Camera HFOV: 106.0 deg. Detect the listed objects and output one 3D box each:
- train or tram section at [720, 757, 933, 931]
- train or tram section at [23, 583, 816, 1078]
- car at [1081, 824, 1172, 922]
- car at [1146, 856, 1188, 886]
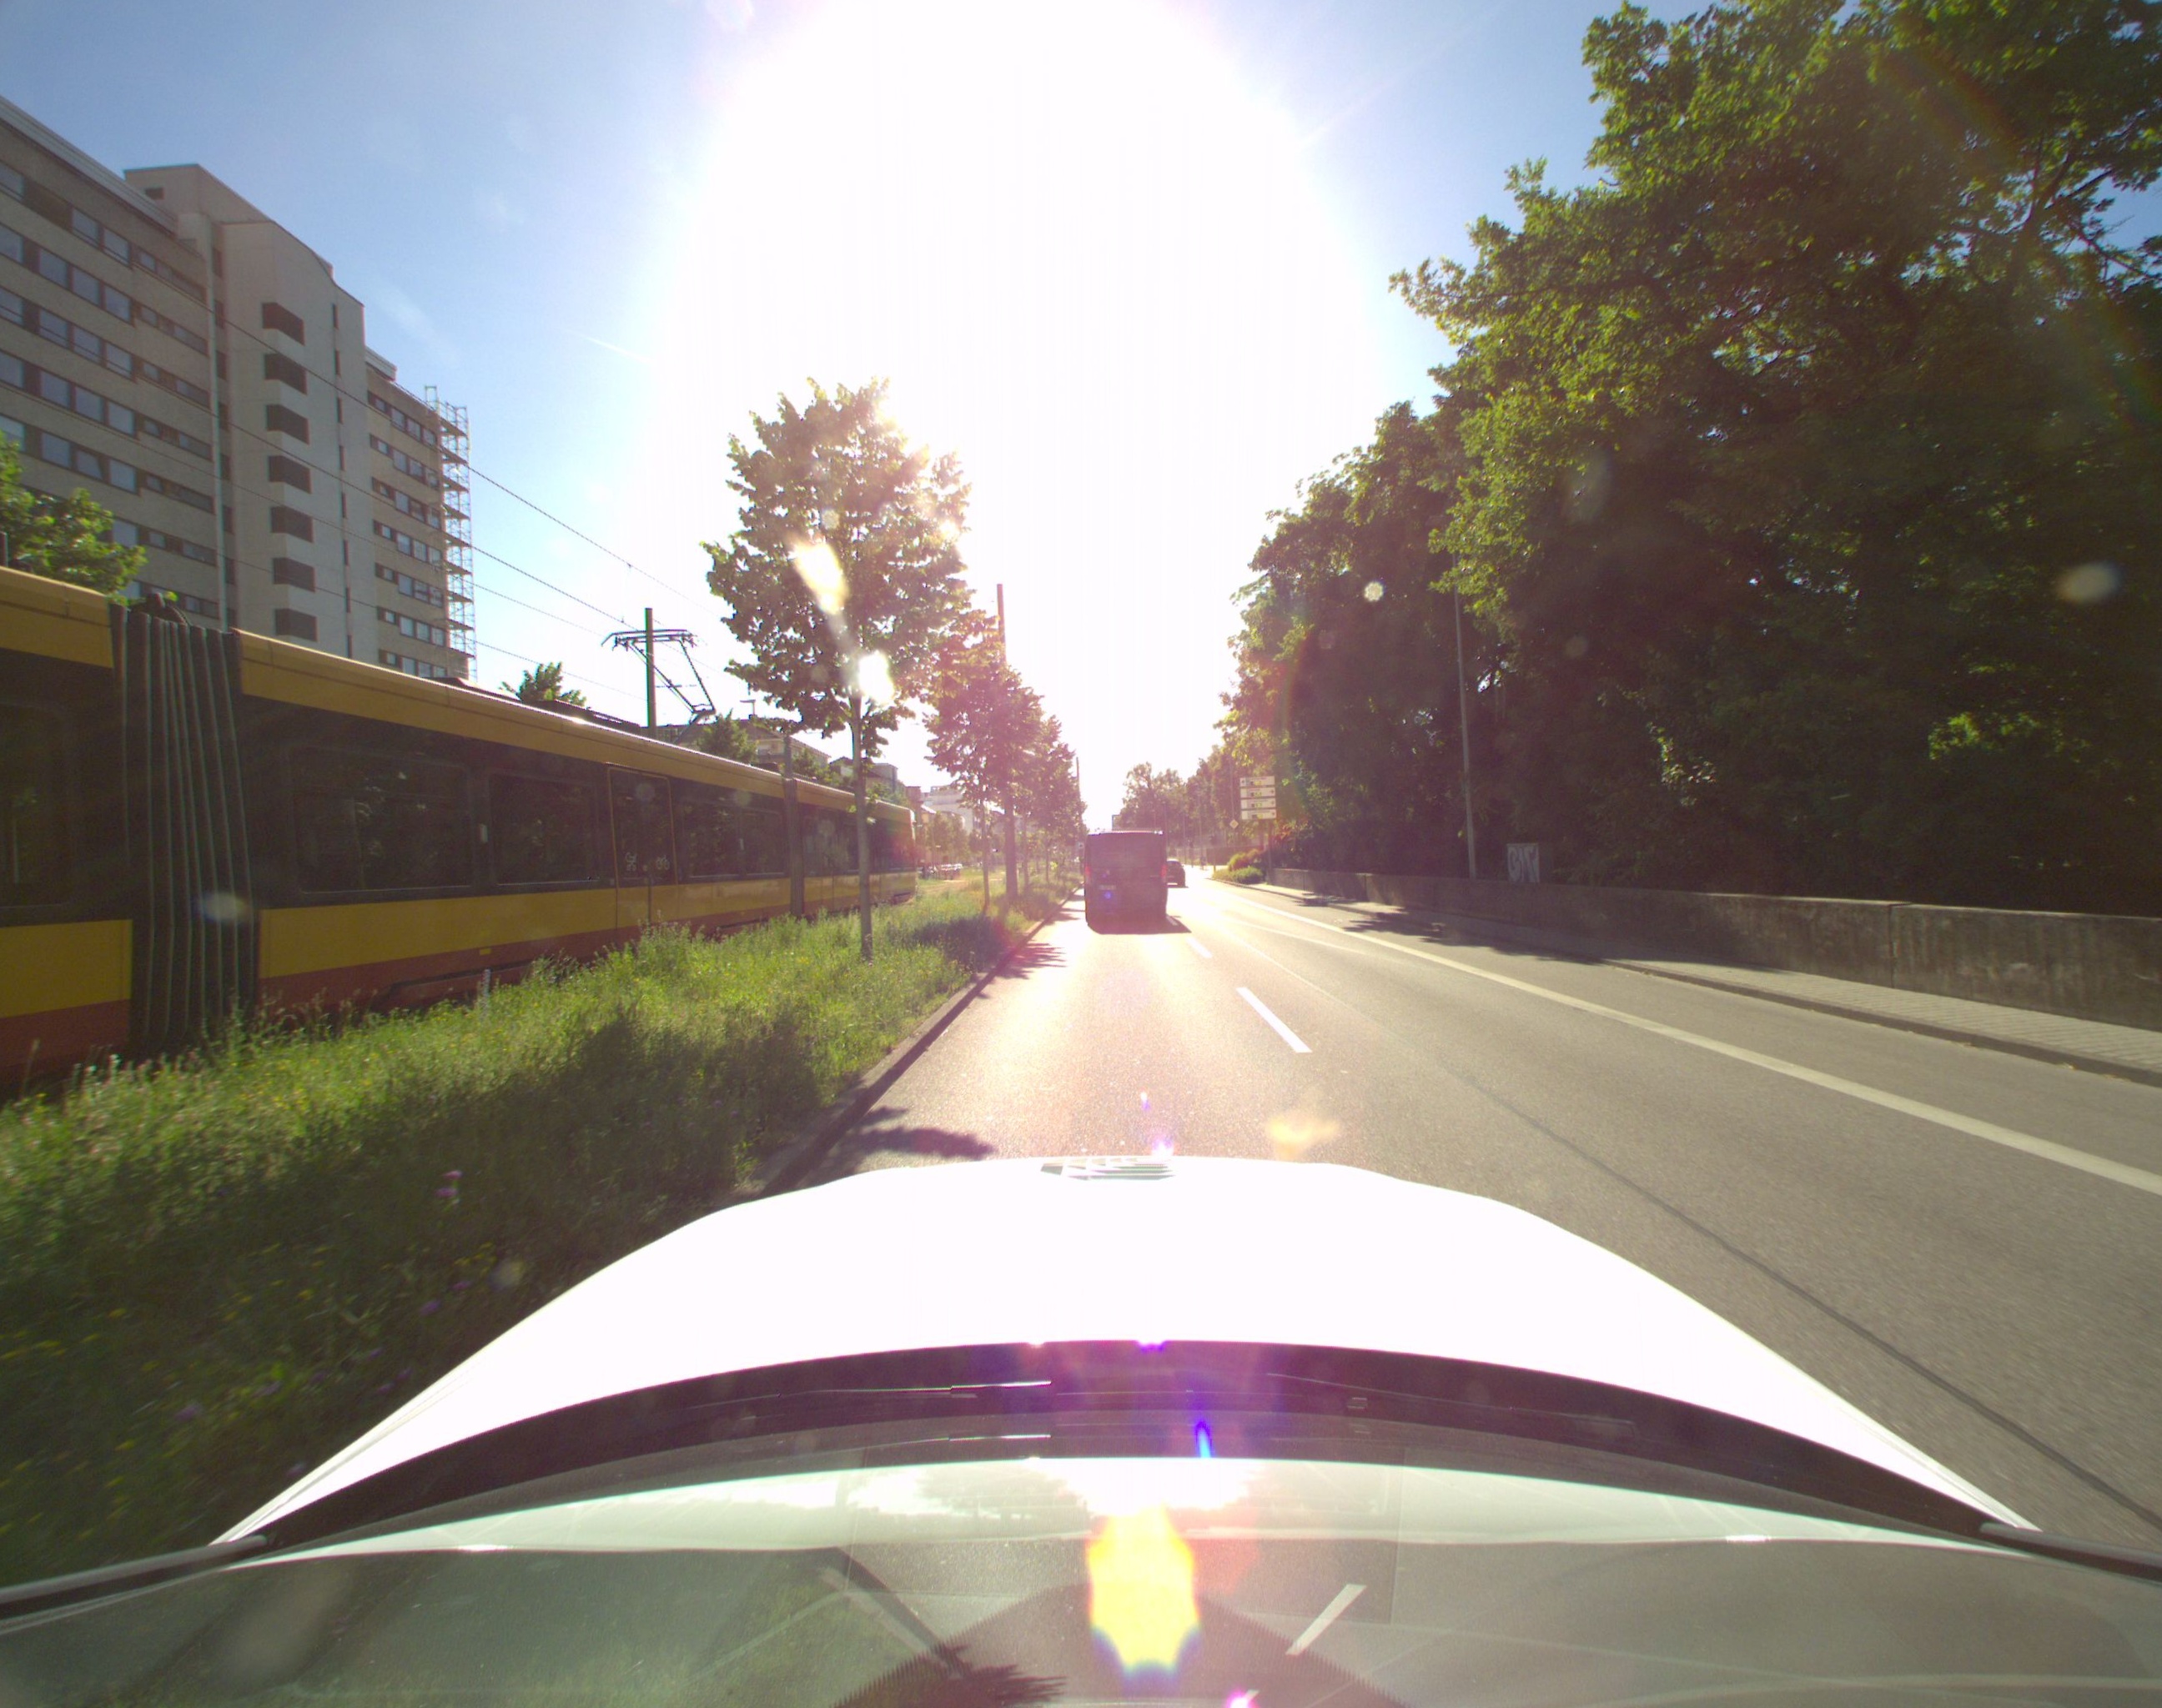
[{"bbox_3d":[-6.517,-0.201,23.274,1.986,3.669,11.688,-1,0,2],"label":"train or tram section"},{"bbox_3d":[-6.826,-0.160,11.785,1.986,3.669,11.318,-1,0,1],"label":"train or tram section"},{"bbox_3d":[1.118,0.460,21.257,2.075,2.249,4.001,-1,0,1],"label":"car"},{"bbox_3d":[4.525,0.871,43.219,1.758,1.462,3.999,-1,0,0],"label":"car"}]
